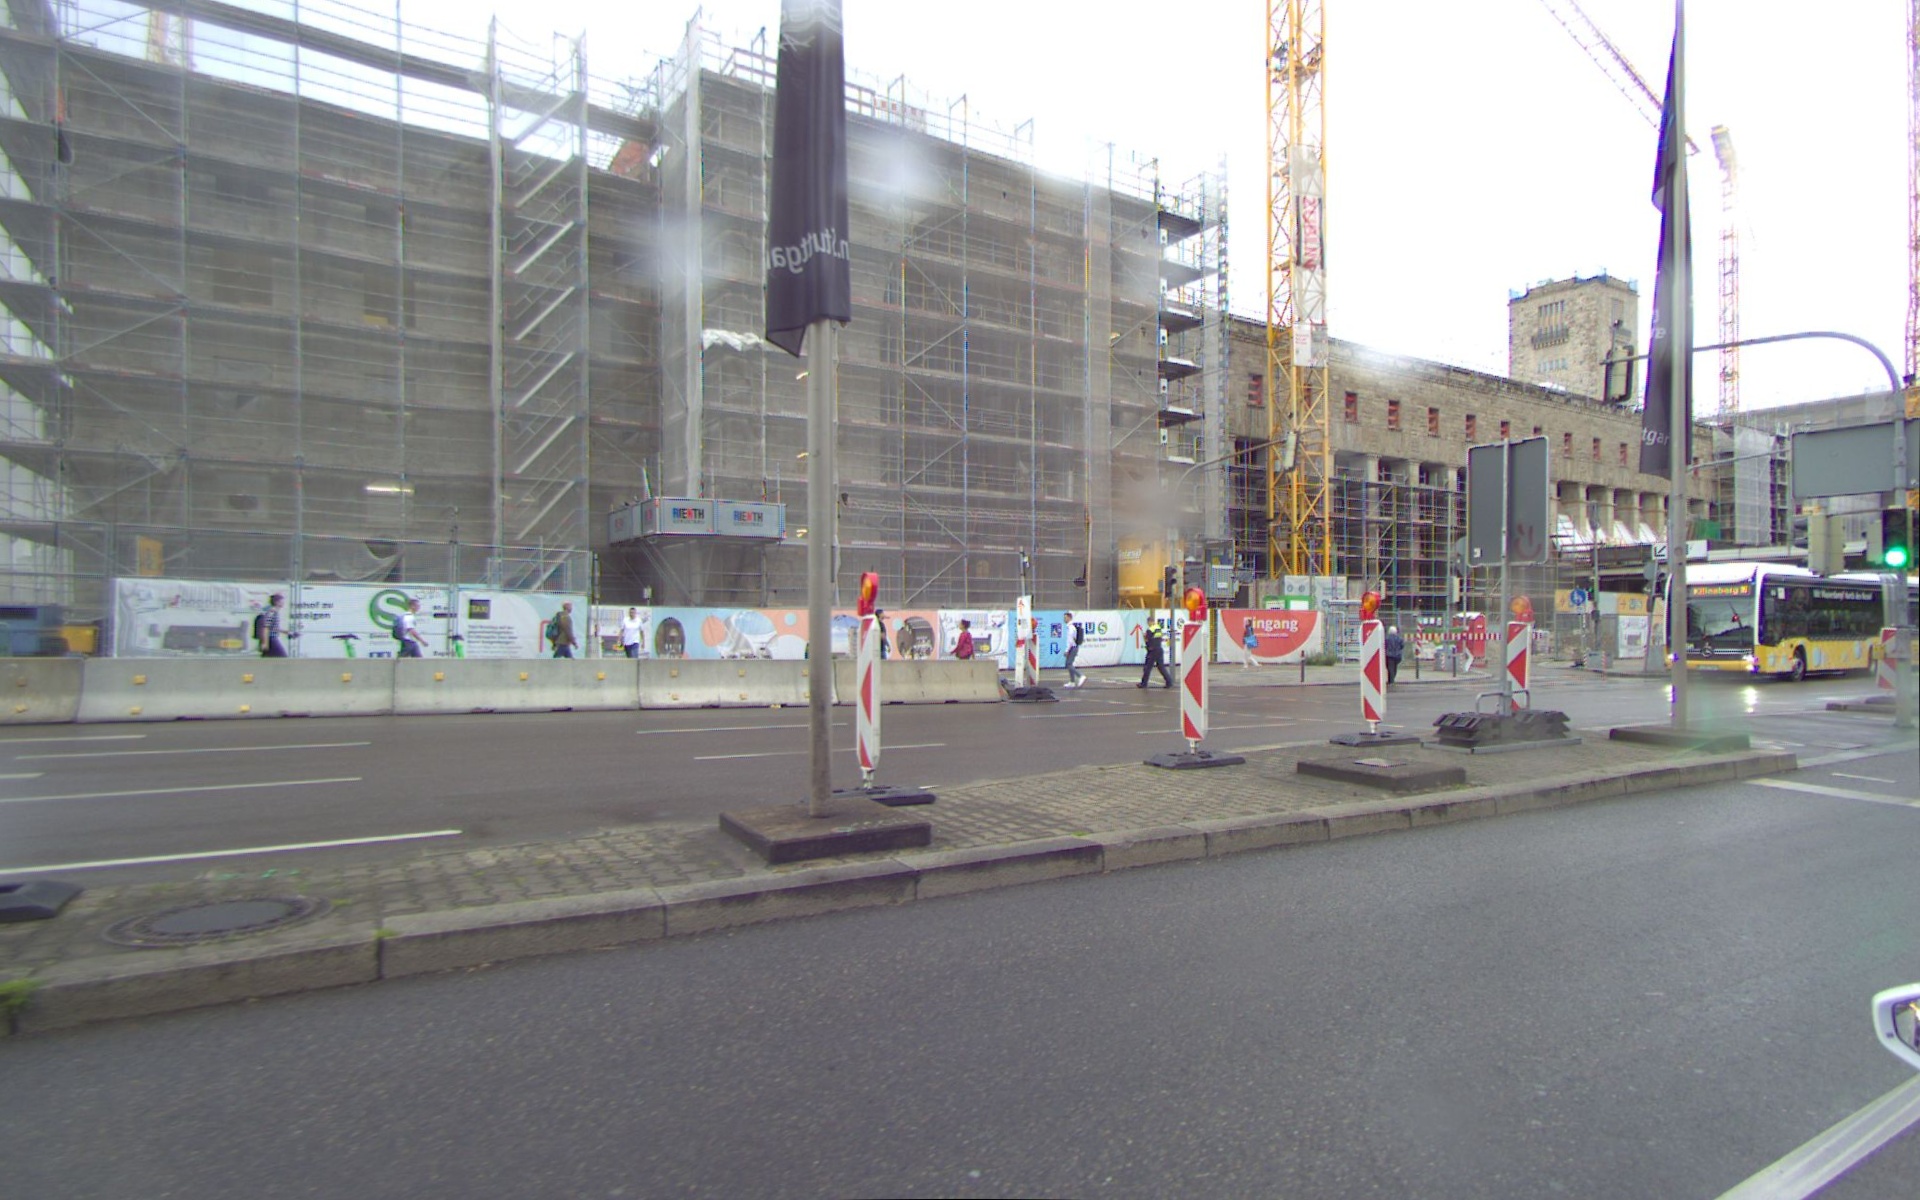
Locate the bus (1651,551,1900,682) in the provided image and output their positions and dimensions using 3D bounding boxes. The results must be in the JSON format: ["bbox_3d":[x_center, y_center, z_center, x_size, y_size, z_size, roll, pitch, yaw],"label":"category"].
[{"bbox_3d":[25.808,0.600,31.568,10.119,3.650,2.655,2,0,-30],"label":"bus"}]

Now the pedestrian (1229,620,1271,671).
[{"bbox_3d":[9.221,1.439,31.953,0.890,1.584,0.909,2,0,-33],"label":"pedestrian"}]

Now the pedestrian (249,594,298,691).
[{"bbox_3d":[-13.425,0.817,19.660,0.709,1.860,0.583,2,0,-30],"label":"pedestrian"}]

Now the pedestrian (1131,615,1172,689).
[{"bbox_3d":[4.910,1.325,25.710,0.810,1.860,0.575,2,0,-30],"label":"pedestrian"}]

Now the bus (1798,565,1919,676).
[{"bbox_3d":[34.546,0.817,36.751,10.092,3.650,2.655,2,0,-30],"label":"bus"}]

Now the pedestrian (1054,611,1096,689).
[{"bbox_3d":[2.921,1.260,25.542,0.614,1.915,0.792,2,0,-38],"label":"pedestrian"}]

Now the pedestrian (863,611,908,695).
[{"bbox_3d":[-1.690,1.187,22.862,0.810,1.860,0.575,2,0,-30],"label":"pedestrian"}]

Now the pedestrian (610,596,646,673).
[{"bbox_3d":[-8.219,0.847,24.881,0.709,1.860,0.478,2,0,-30],"label":"pedestrian"}]

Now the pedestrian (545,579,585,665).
[{"bbox_3d":[-8.726,0.490,22.170,0.709,1.860,0.478,2,0,-30],"label":"pedestrian"}]

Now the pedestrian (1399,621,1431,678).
[{"bbox_3d":[13.131,1.406,29.030,0.772,1.581,0.875,2,0,23],"label":"pedestrian"}]

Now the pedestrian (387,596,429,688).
[{"bbox_3d":[-11.343,0.860,20.640,0.709,1.860,0.478,2,0,-30],"label":"pedestrian"}]

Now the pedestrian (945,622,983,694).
[{"bbox_3d":[0.093,1.430,24.832,0.613,1.740,0.794,2,-2,-33],"label":"pedestrian"}]
